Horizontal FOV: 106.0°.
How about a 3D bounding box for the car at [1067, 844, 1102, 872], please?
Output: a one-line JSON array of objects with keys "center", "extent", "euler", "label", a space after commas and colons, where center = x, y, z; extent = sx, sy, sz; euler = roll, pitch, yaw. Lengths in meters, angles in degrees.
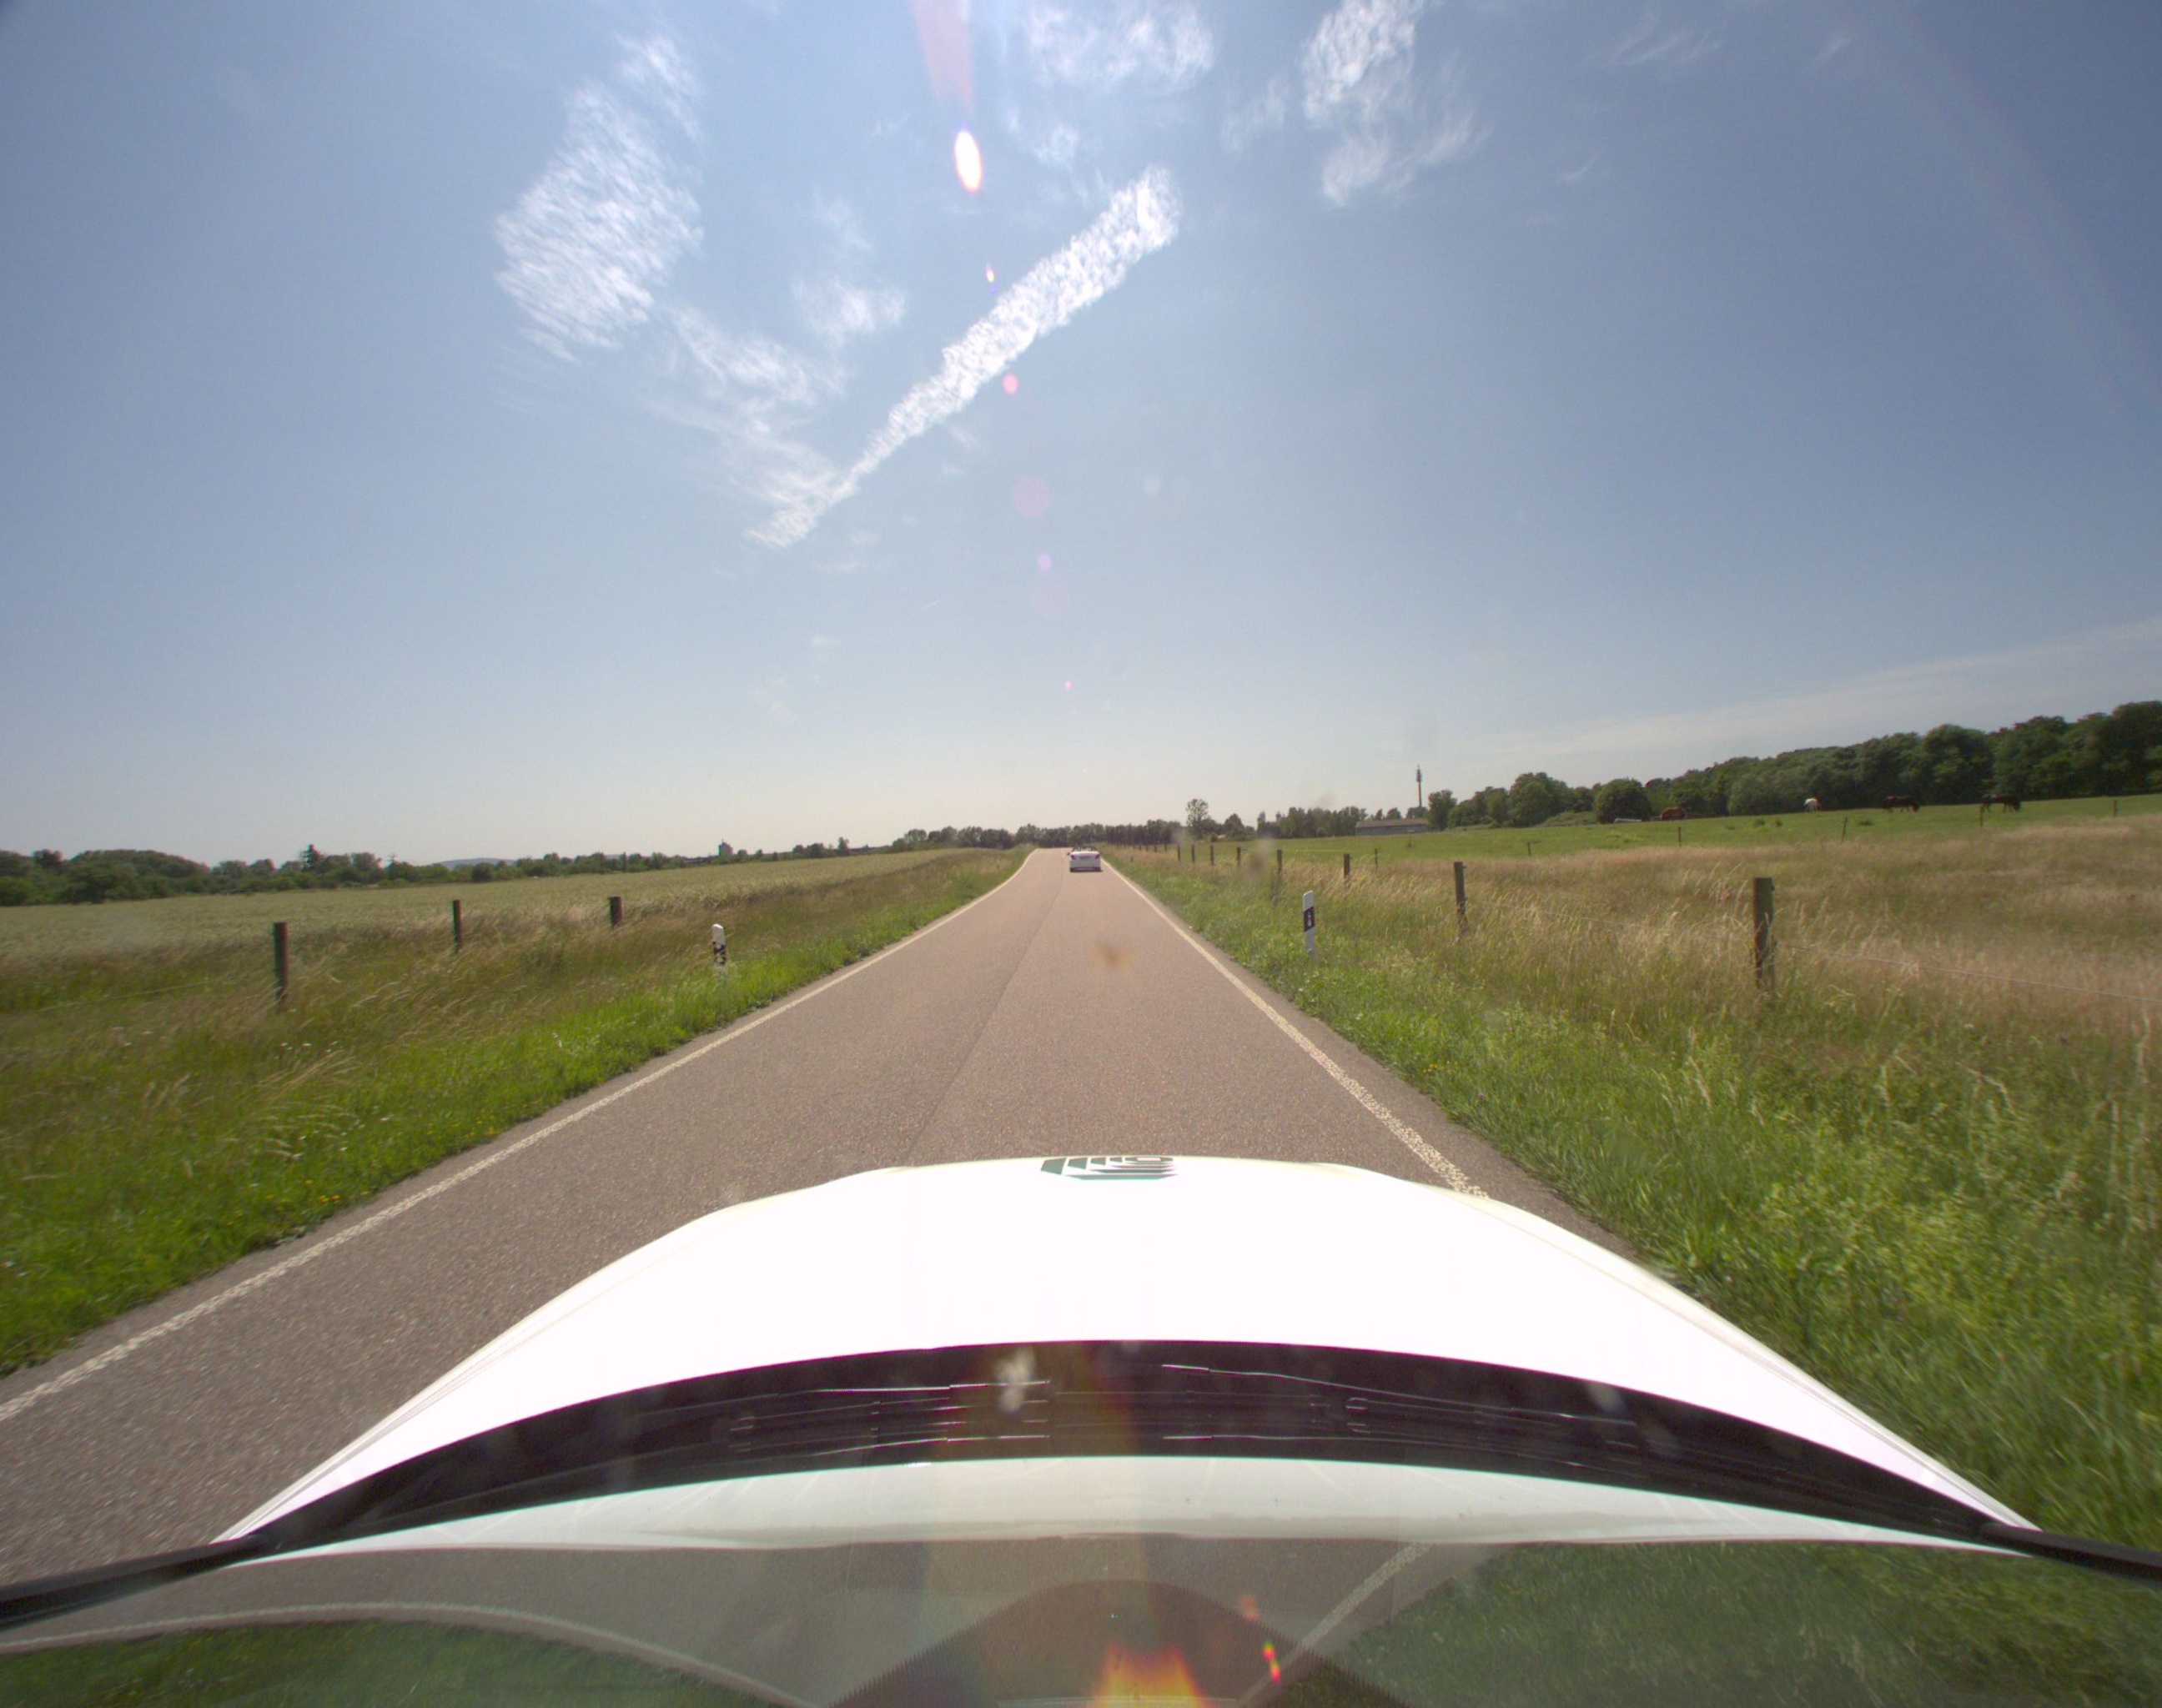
[{"center": [0.139, 0.182, 45.411], "extent": [1.845, 1.379, 3.999], "euler": [-1, 1, -1], "label": "car"}]
